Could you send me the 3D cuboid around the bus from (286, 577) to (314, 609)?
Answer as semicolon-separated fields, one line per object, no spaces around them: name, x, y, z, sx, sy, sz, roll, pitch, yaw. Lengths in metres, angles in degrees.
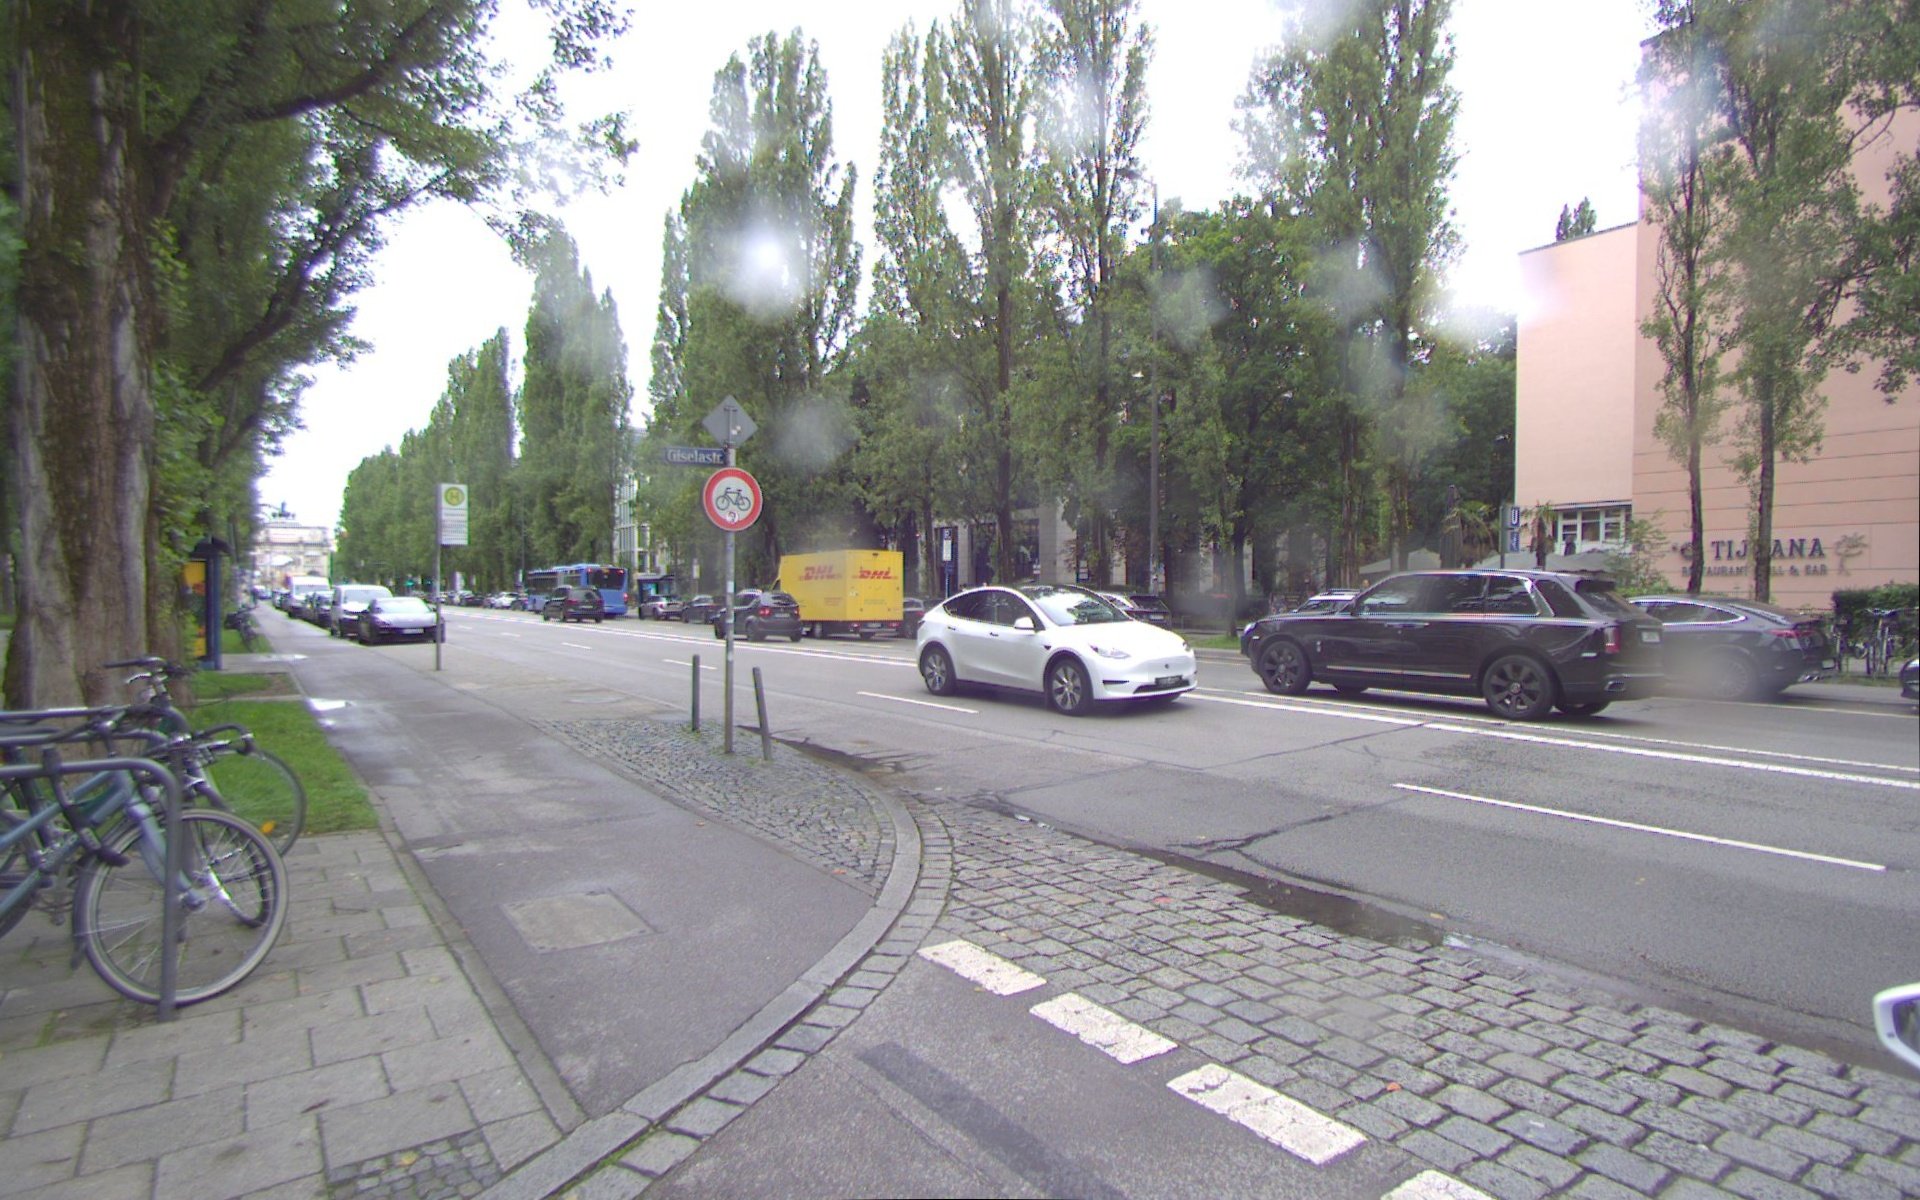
bus;-87.611;-0.922;133.266;2.624;4.167;9.696;-1;0;-36

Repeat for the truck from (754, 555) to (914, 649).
truck;-4.552;0.027;34.860;2.575;2.947;7.010;-1;1;-35

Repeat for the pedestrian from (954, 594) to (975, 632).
pedestrian;0.198;0.594;46.720;0.702;1.736;0.724;-1;1;-35

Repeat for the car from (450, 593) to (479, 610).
car;-51.695;0.181;104.756;1.980;1.745;4.305;1;0;-35

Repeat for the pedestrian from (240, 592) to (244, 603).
pedestrian;-128.665;-0.400;180.088;0.499;2.022;0.517;-1;1;-32

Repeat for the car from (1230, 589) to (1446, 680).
car;7.999;0.666;21.552;1.777;1.755;4.035;1;0;-37

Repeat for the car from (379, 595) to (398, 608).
car;-83.342;0.207;146.448;1.980;1.745;4.305;1;0;-35

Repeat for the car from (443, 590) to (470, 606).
car;-54.432;-0.220;108.639;1.980;1.745;4.305;1;0;-35

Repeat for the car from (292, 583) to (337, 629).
car;-39.522;0.310;61.436;1.993;2.667;5.938;-1;1;-36

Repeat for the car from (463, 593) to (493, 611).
car;-48.321;0.190;100.686;1.980;1.745;4.767;1;0;-35

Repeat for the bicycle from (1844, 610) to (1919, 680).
bicycle;16.203;0.754;17.597;1.970;1.139;0.669;-1;1;-36

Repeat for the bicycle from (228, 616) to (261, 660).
bicycle;-18.127;0.949;25.436;0.549;1.036;1.743;-1;1;-39

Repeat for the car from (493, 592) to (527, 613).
car;-39.051;0.233;87.158;1.980;1.745;4.079;1;0;-35

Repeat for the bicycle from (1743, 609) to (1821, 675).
bicycle;15.388;0.753;18.784;1.970;1.139;0.669;-1;1;-36

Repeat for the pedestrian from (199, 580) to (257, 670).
pedestrian;-15.689;0.511;21.529;0.884;1.868;0.758;-1;1;-44

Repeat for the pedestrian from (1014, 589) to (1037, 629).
pedestrian;2.841;0.374;43.806;0.702;1.736;0.724;-1;1;-35

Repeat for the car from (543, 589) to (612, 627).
car;-18.214;0.354;47.713;1.980;1.745;4.767;1;0;-35

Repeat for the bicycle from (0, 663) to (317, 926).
bicycle;-4.270;0.909;4.825;1.961;1.108;0.487;-1;1;-32

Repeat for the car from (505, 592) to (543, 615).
car;-34.240;0.266;78.783;1.980;1.745;4.079;1;0;-35

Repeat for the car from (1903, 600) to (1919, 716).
car;14.824;0.789;12.280;1.776;1.549;4.576;-1;1;-36

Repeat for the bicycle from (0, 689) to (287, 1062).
bicycle;-3.273;0.915;3.341;1.684;1.108;0.487;-1;1;-32

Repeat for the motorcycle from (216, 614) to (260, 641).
motorcycle;-26.263;0.975;36.525;1.630;0.951;0.467;0;1;21

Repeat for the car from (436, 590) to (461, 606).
car;-58.488;-0.244;114.796;1.980;1.745;4.305;1;0;-35

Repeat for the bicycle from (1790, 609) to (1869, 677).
bicycle;15.793;0.754;18.226;1.970;1.139;0.669;-1;1;-36

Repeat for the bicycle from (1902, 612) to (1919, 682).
bicycle;16.624;0.774;16.979;1.970;1.139;0.669;-1;1;-36

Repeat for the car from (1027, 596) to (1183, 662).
car;3.822;0.704;27.085;1.776;1.622;4.194;-1;1;-36

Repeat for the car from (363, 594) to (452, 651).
car;-16.956;0.619;30.752;1.992;1.602;3.960;-1;1;-35

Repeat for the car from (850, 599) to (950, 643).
car;-2.162;0.692;35.535;1.776;1.431;3.842;-1;1;-36

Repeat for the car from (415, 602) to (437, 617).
car;-67.422;1.211;126.783;1.980;1.745;4.305;1;0;-35

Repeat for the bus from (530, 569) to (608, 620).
bus;-25.665;-0.316;65.651;2.895;3.093;9.708;-1;0;-32

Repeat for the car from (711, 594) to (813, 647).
car;-6.258;0.602;31.462;1.830;1.547;3.716;0;0;-34

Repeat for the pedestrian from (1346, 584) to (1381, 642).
pedestrian;12.260;0.389;30.524;0.702;1.736;0.724;-1;1;-35

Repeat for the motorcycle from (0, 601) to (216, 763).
motorcycle;-7.835;0.700;9.015;1.951;1.211;0.630;5;2;10

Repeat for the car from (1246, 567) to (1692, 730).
car;6.555;0.543;13.532;1.982;1.772;5.010;2;-1;-37

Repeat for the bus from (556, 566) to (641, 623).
bus;-21.356;-0.295;59.018;2.896;3.093;8.440;-1;0;-33

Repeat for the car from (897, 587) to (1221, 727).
car;1.207;0.658;14.211;1.981;1.597;4.589;-2;2;-37

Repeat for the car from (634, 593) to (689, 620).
car;-16.776;0.329;56.354;1.776;1.431;3.842;-1;1;-36

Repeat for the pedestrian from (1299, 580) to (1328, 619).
pedestrian;12.671;-0.027;36.011;0.724;1.374;0.702;-1;1;-35

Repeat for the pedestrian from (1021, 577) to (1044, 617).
pedestrian;3.240;-0.137;44.902;0.702;1.736;0.724;-1;1;-35

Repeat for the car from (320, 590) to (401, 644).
car;-21.385;0.603;35.788;1.994;1.780;3.957;-1;0;-38

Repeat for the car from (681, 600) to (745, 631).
car;-12.380;0.741;50.212;1.776;1.431;3.842;0;1;-36

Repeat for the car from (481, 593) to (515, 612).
car;-41.991;0.216;91.315;1.980;1.745;4.767;1;0;-35

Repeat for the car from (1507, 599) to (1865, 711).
car;11.738;0.774;16.555;1.776;1.549;4.469;-1;1;-36

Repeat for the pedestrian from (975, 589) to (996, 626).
pedestrian;1.223;0.354;47.671;0.702;1.736;0.724;-1;1;-35

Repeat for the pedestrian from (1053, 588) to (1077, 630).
pedestrian;4.427;0.360;42.232;0.702;1.736;0.724;-1;1;-35

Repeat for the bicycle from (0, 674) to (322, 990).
bicycle;-3.597;0.911;4.068;1.684;1.108;0.487;-1;1;-32
